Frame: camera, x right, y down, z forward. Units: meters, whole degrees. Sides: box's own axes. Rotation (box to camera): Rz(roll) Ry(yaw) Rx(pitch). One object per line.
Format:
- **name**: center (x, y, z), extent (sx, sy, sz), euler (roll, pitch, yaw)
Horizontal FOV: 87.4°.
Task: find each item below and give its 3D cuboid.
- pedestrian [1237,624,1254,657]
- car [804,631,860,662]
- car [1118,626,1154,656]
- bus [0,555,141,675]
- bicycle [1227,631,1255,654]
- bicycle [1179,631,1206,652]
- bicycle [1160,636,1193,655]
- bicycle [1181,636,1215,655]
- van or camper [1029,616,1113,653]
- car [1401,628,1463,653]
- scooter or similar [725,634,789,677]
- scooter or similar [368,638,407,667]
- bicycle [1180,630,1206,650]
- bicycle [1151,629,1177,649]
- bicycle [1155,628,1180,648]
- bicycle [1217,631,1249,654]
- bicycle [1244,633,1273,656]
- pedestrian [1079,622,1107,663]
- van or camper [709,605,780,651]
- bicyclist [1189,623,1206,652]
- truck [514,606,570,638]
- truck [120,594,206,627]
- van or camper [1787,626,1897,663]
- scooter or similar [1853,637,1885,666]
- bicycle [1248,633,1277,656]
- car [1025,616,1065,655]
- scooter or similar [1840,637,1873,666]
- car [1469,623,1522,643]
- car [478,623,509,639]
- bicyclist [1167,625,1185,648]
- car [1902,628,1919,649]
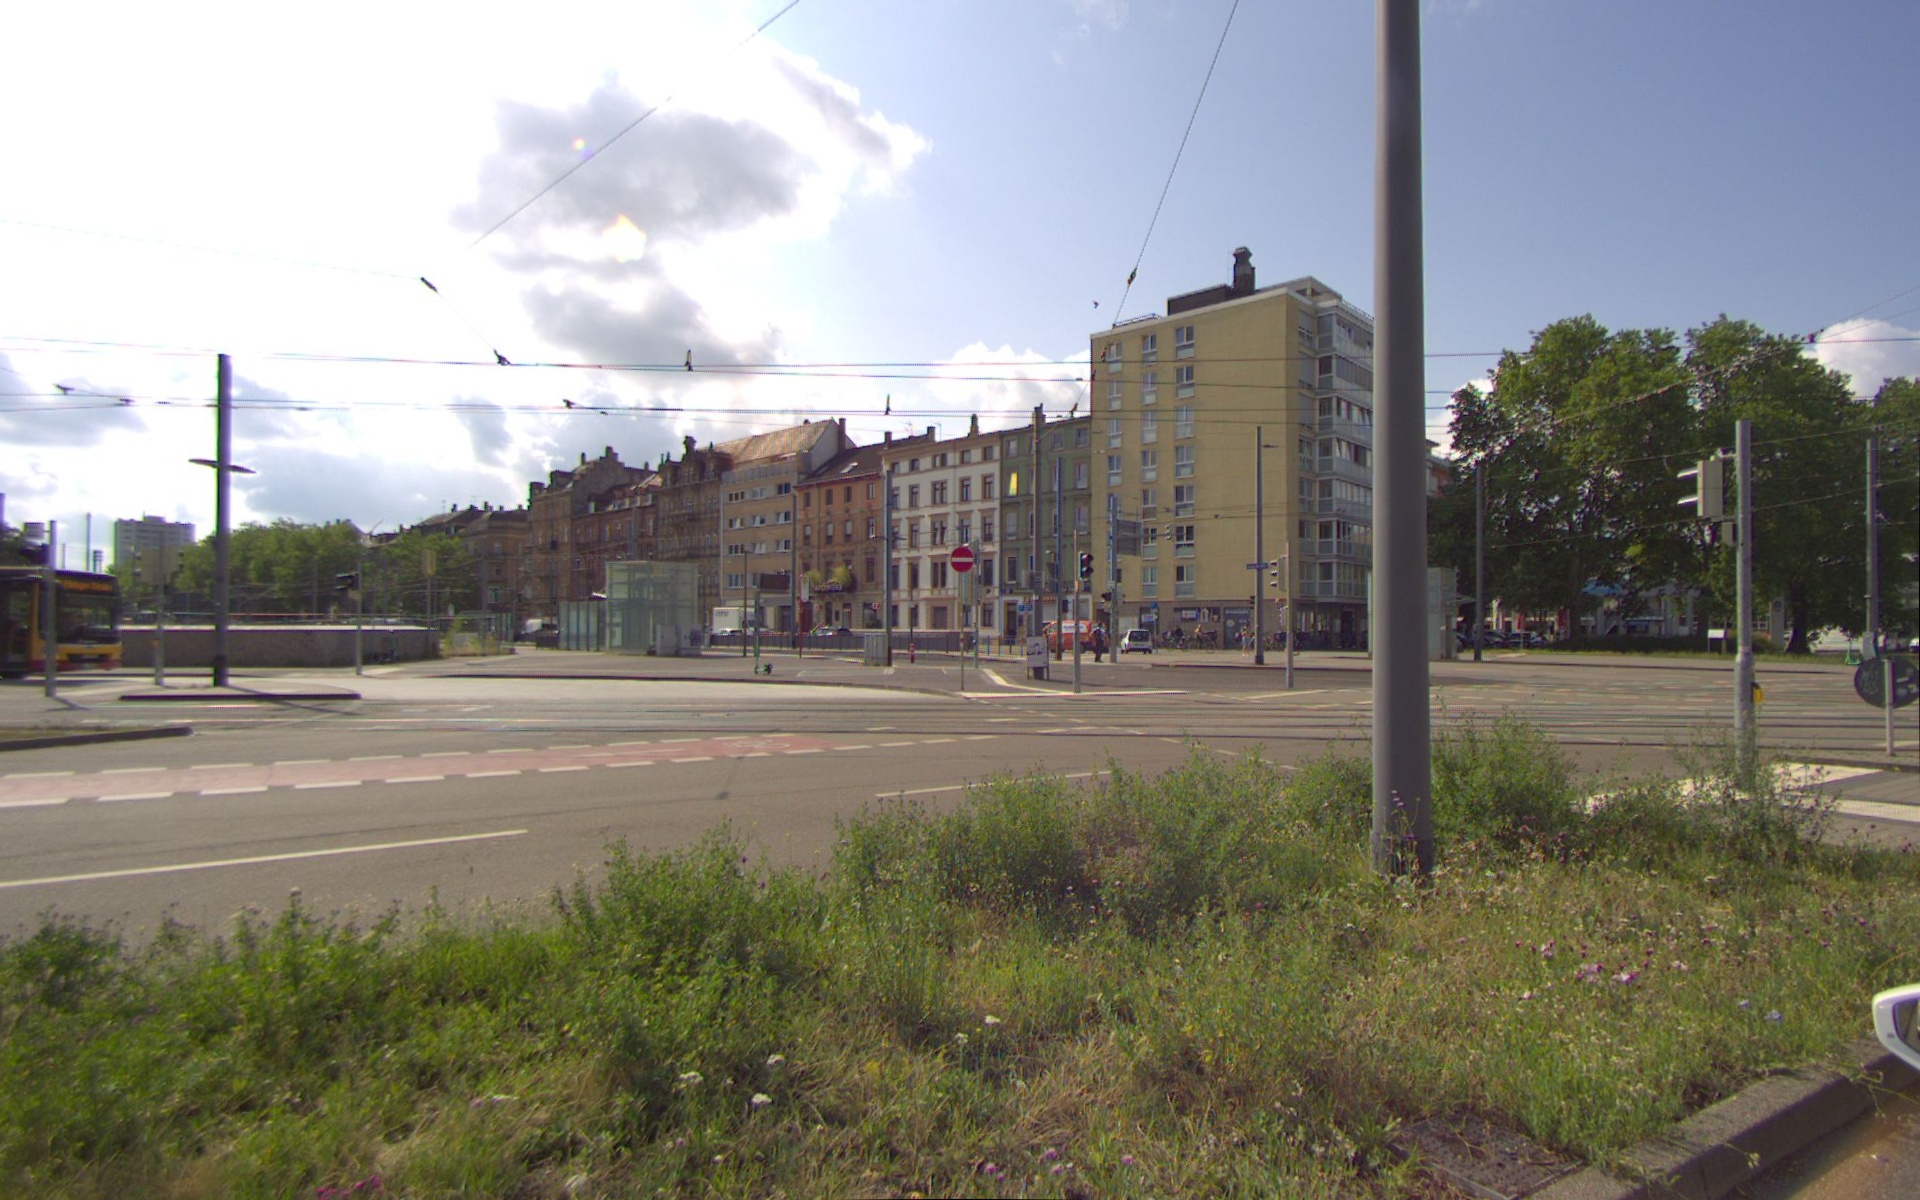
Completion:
- **pedestrian**: center (15.766, 2.247, 55.459), extent (0.771, 1.782, 0.995), euler (3, -1, 21)
- **car**: center (-9.443, 3.369, 73.903), extent (3.945, 2.040, 1.988), euler (2, 0, 44)
- **car**: center (10.698, 2.463, 61.248), extent (1.685, 1.460, 3.512), euler (4, 2, 3)
- **bus**: center (-25.380, 0.376, 25.341), extent (6.964, 2.871, 2.699), euler (0, -1, -4)
- **bicycle**: center (18.366, 2.767, 65.572), extent (1.622, 1.289, 0.485), euler (6, 1, 44)
- **bicycle**: center (15.610, 2.764, 67.405), extent (1.622, 1.217, 0.546), euler (6, 1, 44)
- **bicycle**: center (14.059, 2.951, 65.310), extent (1.965, 1.142, 0.785), euler (-1, -2, 44)
- **bicycle**: center (14.874, 2.857, 62.700), extent (1.965, 1.142, 0.785), euler (-1, -2, 44)
- **van or camper**: center (6.477, 1.999, 58.824), extent (4.454, 1.940, 2.006), euler (1, 0, 40)
- **car**: center (33.856, 2.888, 72.085), extent (3.524, 1.550, 1.989), euler (2, 0, 43)
- **scooter or similar**: center (-6.262, 1.689, 30.994), extent (1.330, 1.205, 1.475), euler (2, 0, -44)
- **scooter or similar**: center (-20.495, 1.871, 35.994), extent (0.464, 0.962, 1.663), euler (0, -1, -1)
- **bicycle**: center (15.782, 2.707, 68.008), extent (1.622, 1.217, 0.485), euler (6, 1, 44)
- **bicycle**: center (14.008, 2.658, 69.053), extent (1.622, 1.217, 0.485), euler (6, 1, 44)
- **bicycle**: center (14.350, 2.658, 69.457), extent (1.622, 1.217, 0.485), euler (6, 1, 44)
- **bicycle**: center (17.768, 2.748, 65.386), extent (1.859, 1.289, 0.486), euler (6, 5, 36)
- **bicycle**: center (19.082, 2.834, 64.239), extent (1.622, 1.289, 0.528), euler (6, 1, 44)
- **pedestrian**: center (5.772, 1.835, 43.639), extent (0.783, 1.696, 0.840), euler (6, 6, 42)
- **van or camper**: center (-19.998, 2.509, 92.802), extent (2.703, 3.376, 7.536), euler (-1, 6, -45)
- **bicyclist**: center (14.855, 2.352, 62.767), extent (0.816, 1.768, 0.708), euler (-1, -2, 42)
- **truck**: center (-45.961, 2.377, 110.349), extent (7.197, 3.330, 3.160), euler (1, 0, 45)
- **truck**: center (-93.109, 1.317, 117.444), extent (2.432, 3.696, 7.422), euler (-1, -2, 37)
- **van or camper**: center (67.338, 3.347, 76.837), extent (2.361, 2.502, 5.858), euler (2, 0, -25)
- **scooter or similar**: center (39.540, 2.253, 43.701), extent (0.911, 1.173, 0.381), euler (3, 4, 5)
- **bicycle**: center (19.451, 2.847, 64.628), extent (1.622, 1.289, 0.485), euler (6, 1, 44)
- **car**: center (5.595, 2.333, 66.601), extent (2.039, 2.113, 4.897), euler (3, 2, -1)
- **scooter or similar**: center (39.527, 2.255, 44.295), extent (0.911, 1.173, 0.381), euler (4, 4, 16)
- **car**: center (44.368, 2.749, 83.213), extent (1.654, 1.615, 3.573), euler (1, -2, -43)
- **car**: center (-51.166, 3.388, 110.116), extent (3.946, 1.684, 1.765), euler (-1, -2, 45)
- **bicyclist**: center (14.051, 2.368, 65.345), extent (0.822, 1.517, 0.785), euler (-1, -2, 43)
- **car**: center (75.142, 3.001, 78.033), extent (3.959, 1.625, 2.055), euler (1, -2, -34)
